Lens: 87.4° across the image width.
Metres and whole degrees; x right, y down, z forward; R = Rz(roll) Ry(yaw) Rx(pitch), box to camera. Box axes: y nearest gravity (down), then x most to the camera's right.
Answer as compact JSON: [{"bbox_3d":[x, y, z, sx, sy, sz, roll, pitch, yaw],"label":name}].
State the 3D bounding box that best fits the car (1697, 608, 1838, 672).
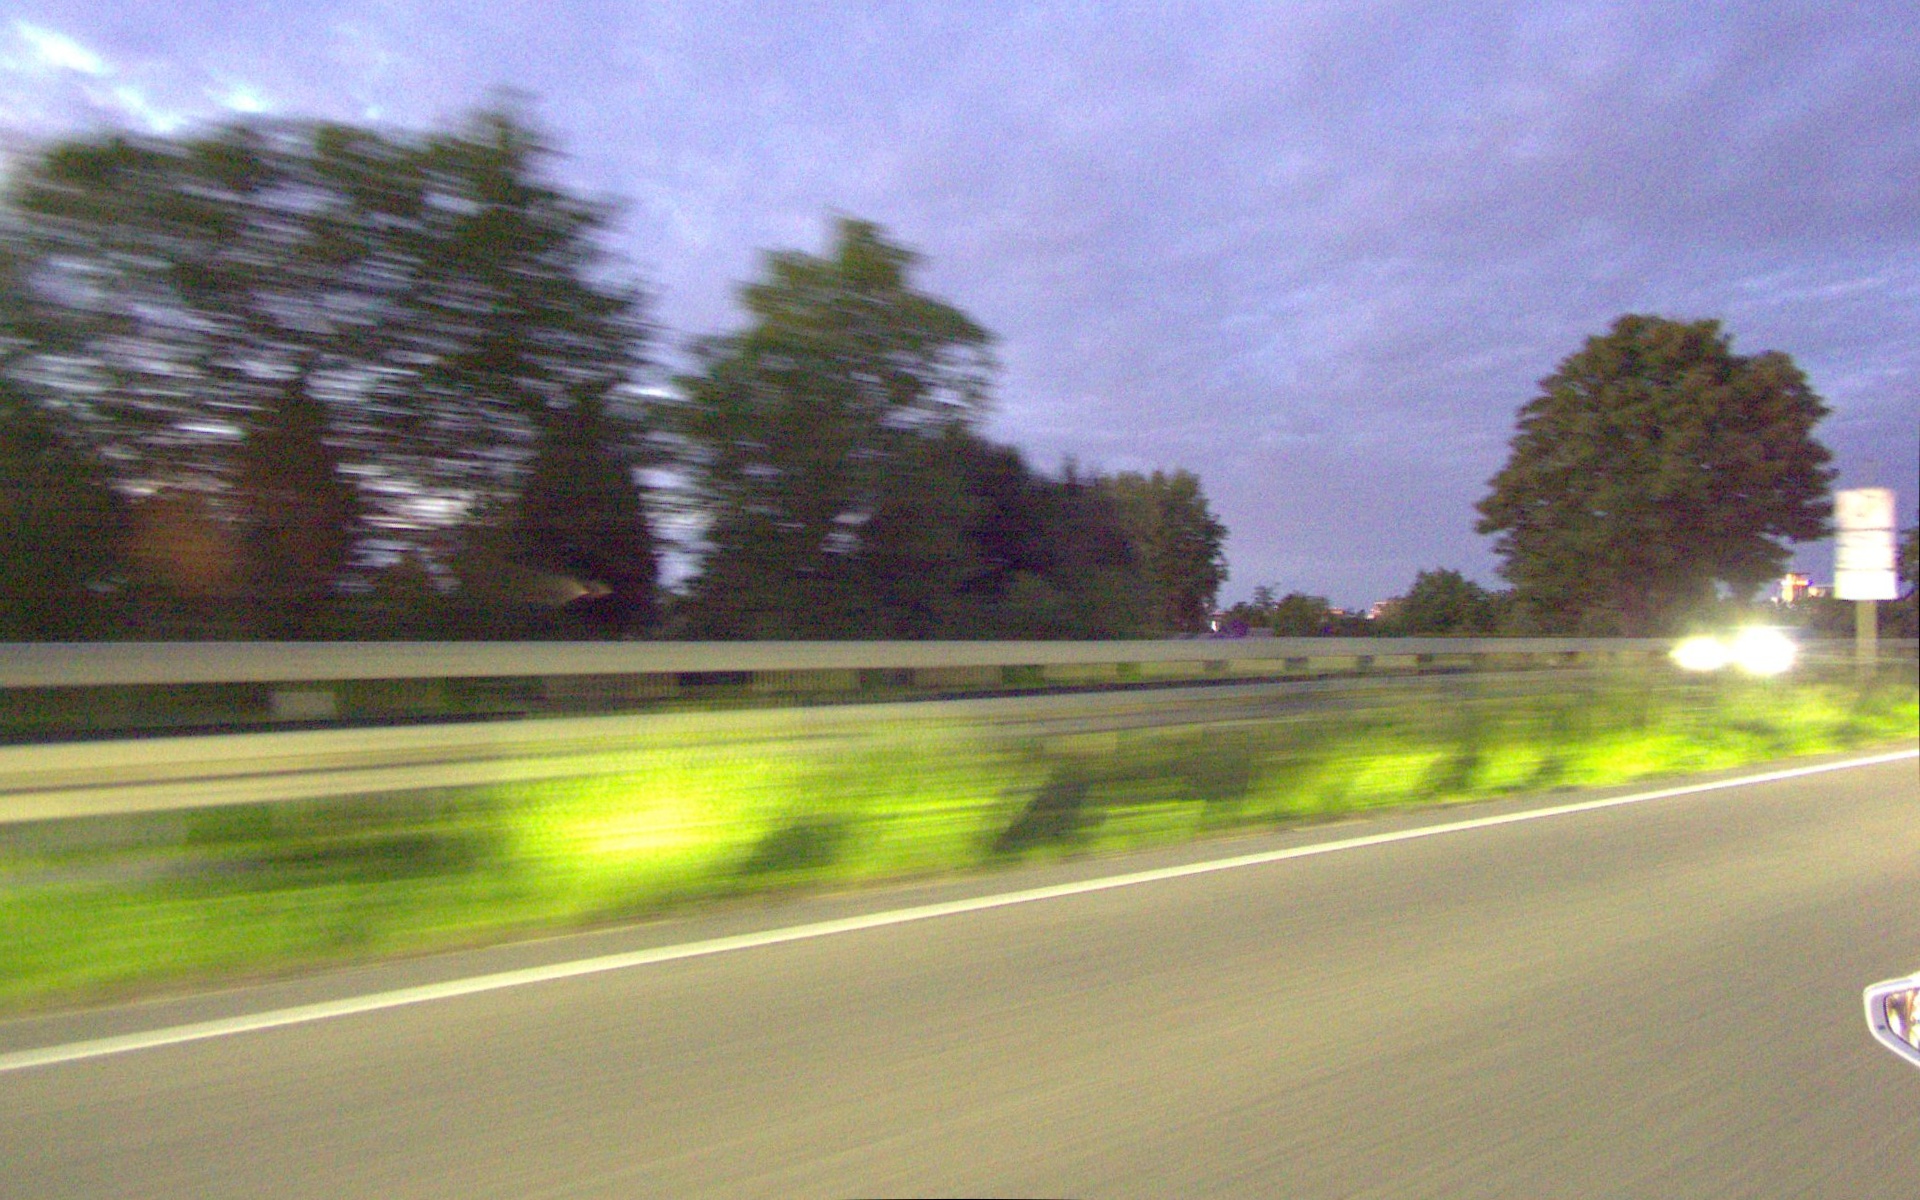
[{"bbox_3d":[21.180,1.027,26.314,3.955,1.525,1.646,1,0,-32],"label":"car"}]
